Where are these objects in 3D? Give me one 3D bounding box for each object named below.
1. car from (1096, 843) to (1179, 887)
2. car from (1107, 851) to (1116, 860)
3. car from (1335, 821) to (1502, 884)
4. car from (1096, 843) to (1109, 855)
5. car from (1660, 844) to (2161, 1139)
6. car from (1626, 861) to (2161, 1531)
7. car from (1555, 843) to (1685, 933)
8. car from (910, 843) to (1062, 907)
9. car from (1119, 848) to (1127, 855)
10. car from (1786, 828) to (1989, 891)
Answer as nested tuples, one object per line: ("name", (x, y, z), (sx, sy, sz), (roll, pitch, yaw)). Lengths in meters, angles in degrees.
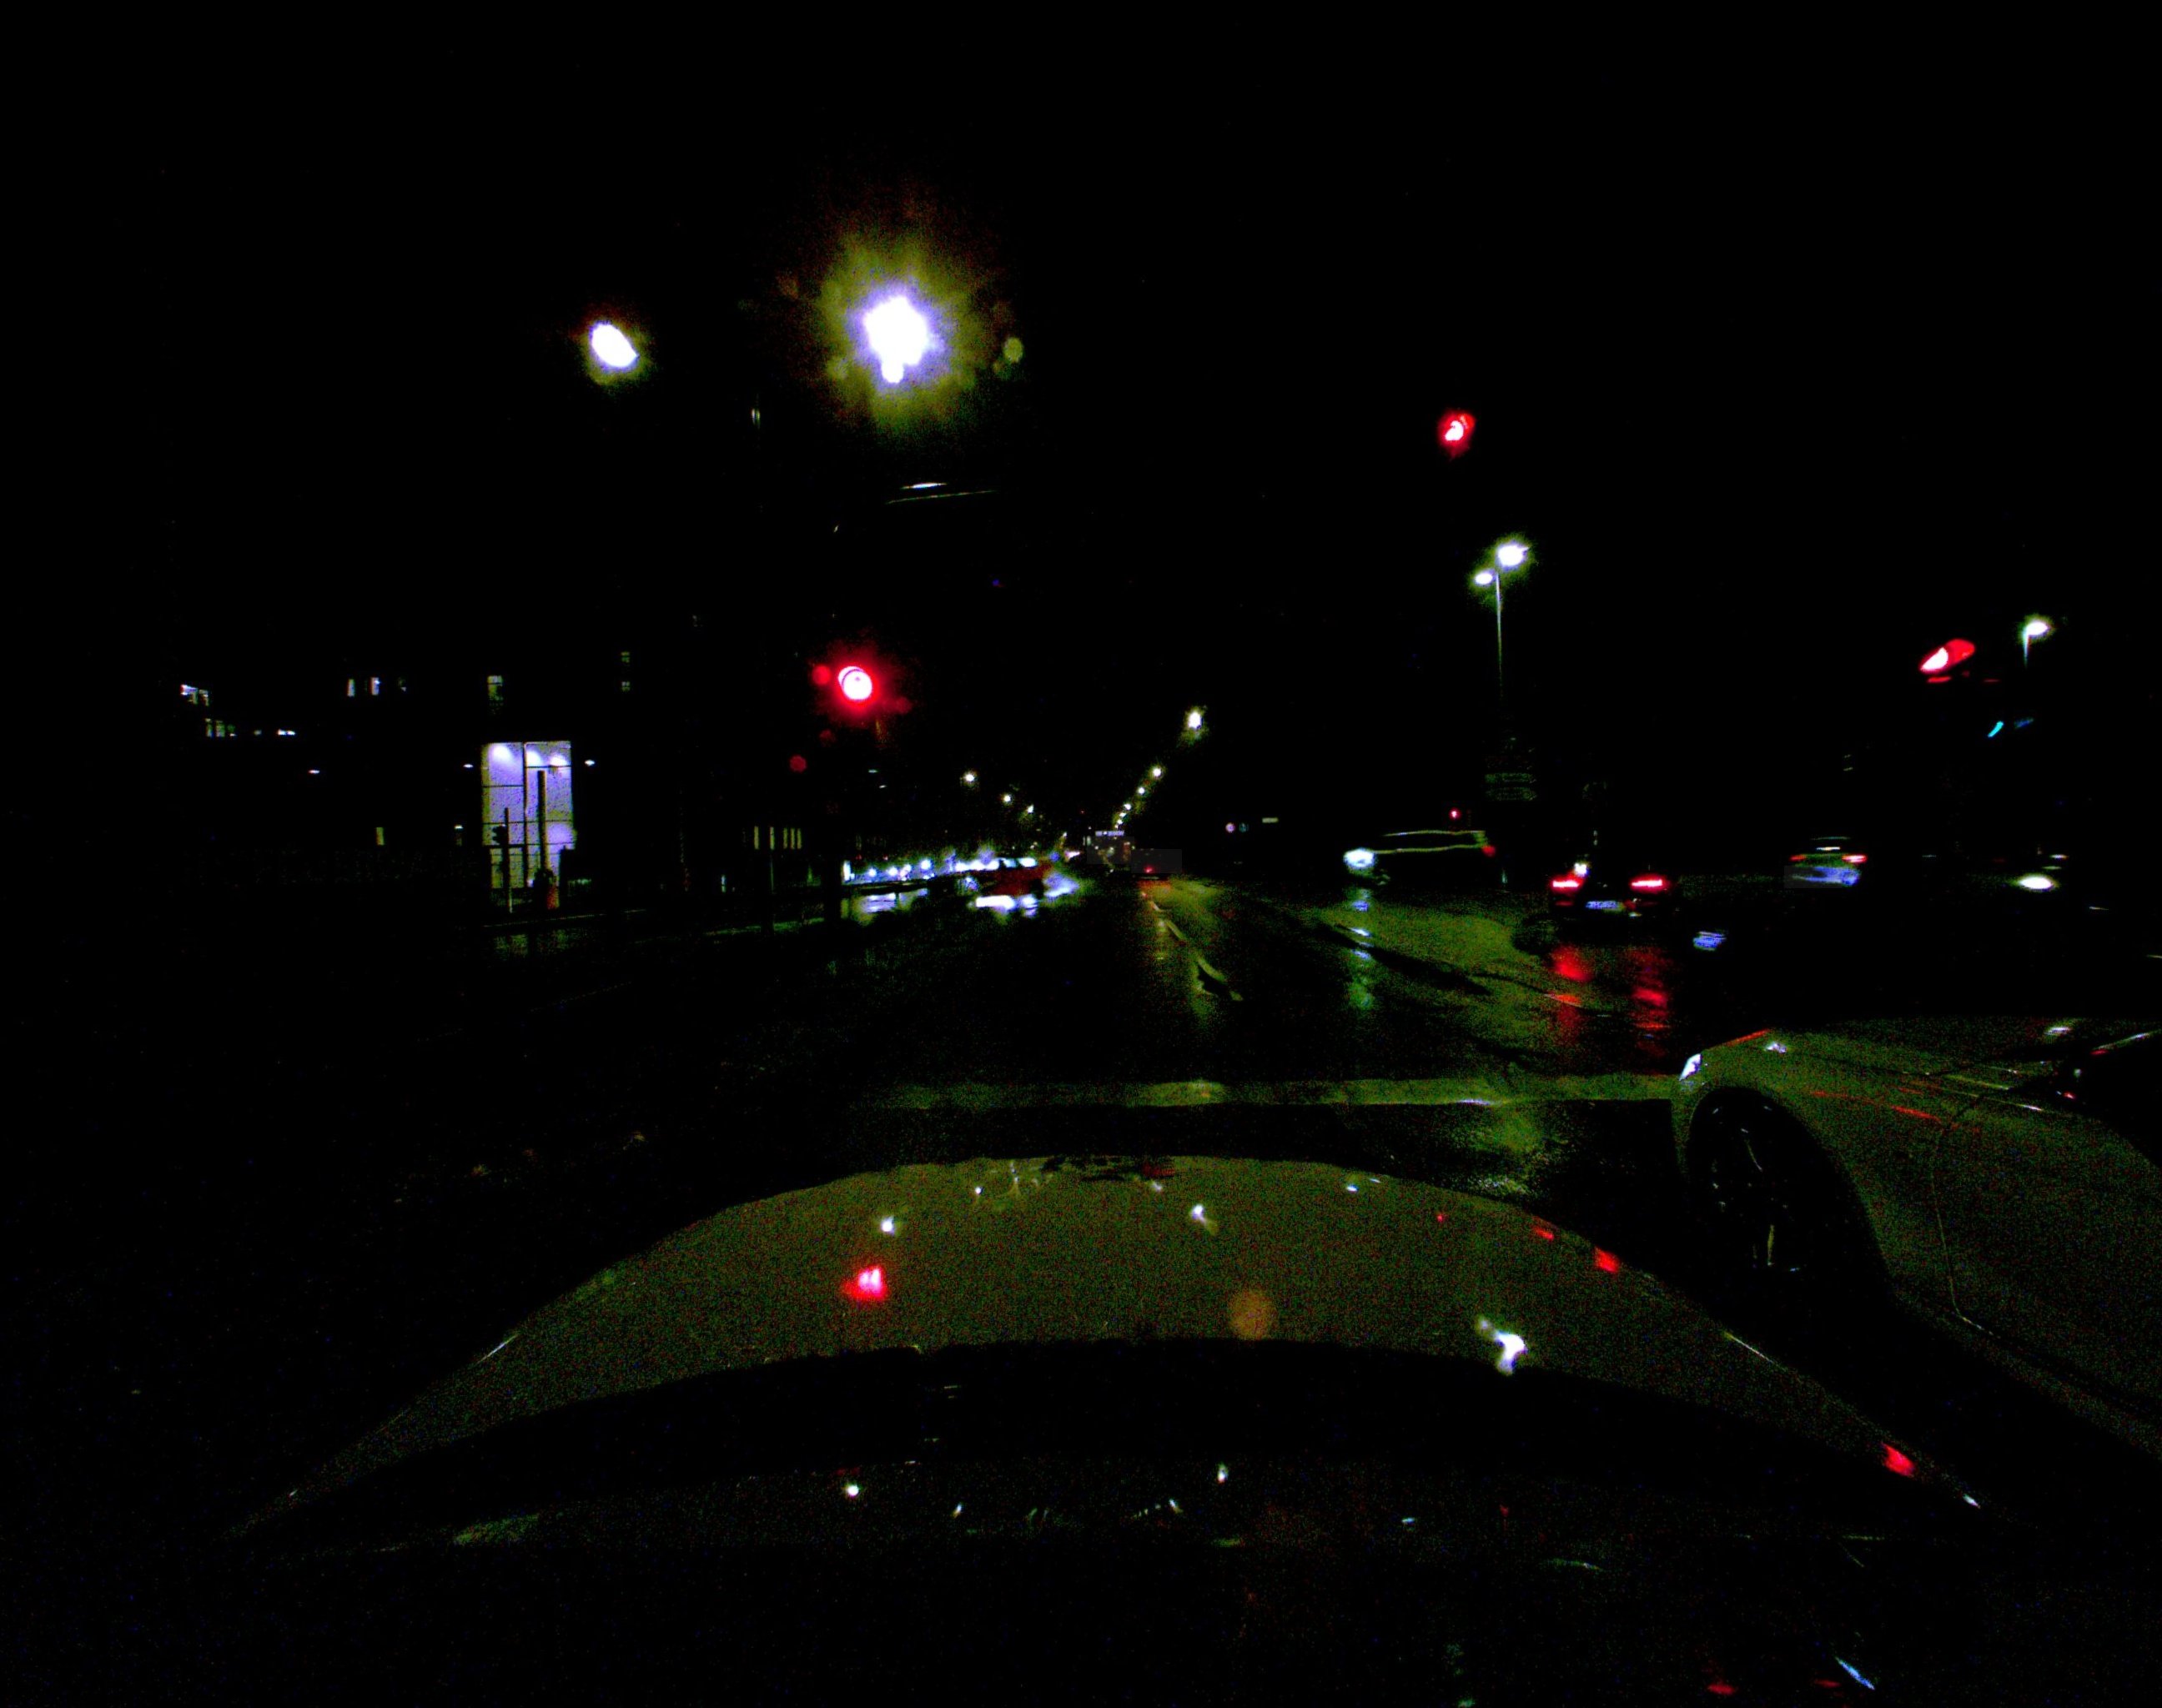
("car", (2.881, 0.572, 42.757), (2.146, 2.145, 4.885), (0, -1, -27))
("car", (6.293, 0.258, 168.694), (1.784, 1.874, 4.628), (0, -1, 1))
("car", (11.856, -0.054, 28.883), (5.074, 1.984, 2.001), (-2, 0, 1))
("car", (3.716, -0.892, 139.941), (1.988, 2.014, 4.629), (0, -1, -1))
("car", (6.108, 0.672, 5.426), (1.745, 1.431, 3.757), (-1, 0, -2))
("car", (3.127, 0.723, 1.296), (1.710, 1.404, 4.351), (0, -1, 2))
("car", (9.843, 0.504, 15.044), (1.735, 1.390, 4.595), (0, 0, 32))
("car", (-2.876, 0.592, 24.757), (4.093, 1.588, 1.894), (-4, 1, -29))
("car", (10.574, -0.615, 205.990), (1.986, 1.759, 4.001), (0, -1, 2))
("car", (19.488, 0.127, 19.750), (3.578, 1.459, 1.635), (0, -1, -7))
